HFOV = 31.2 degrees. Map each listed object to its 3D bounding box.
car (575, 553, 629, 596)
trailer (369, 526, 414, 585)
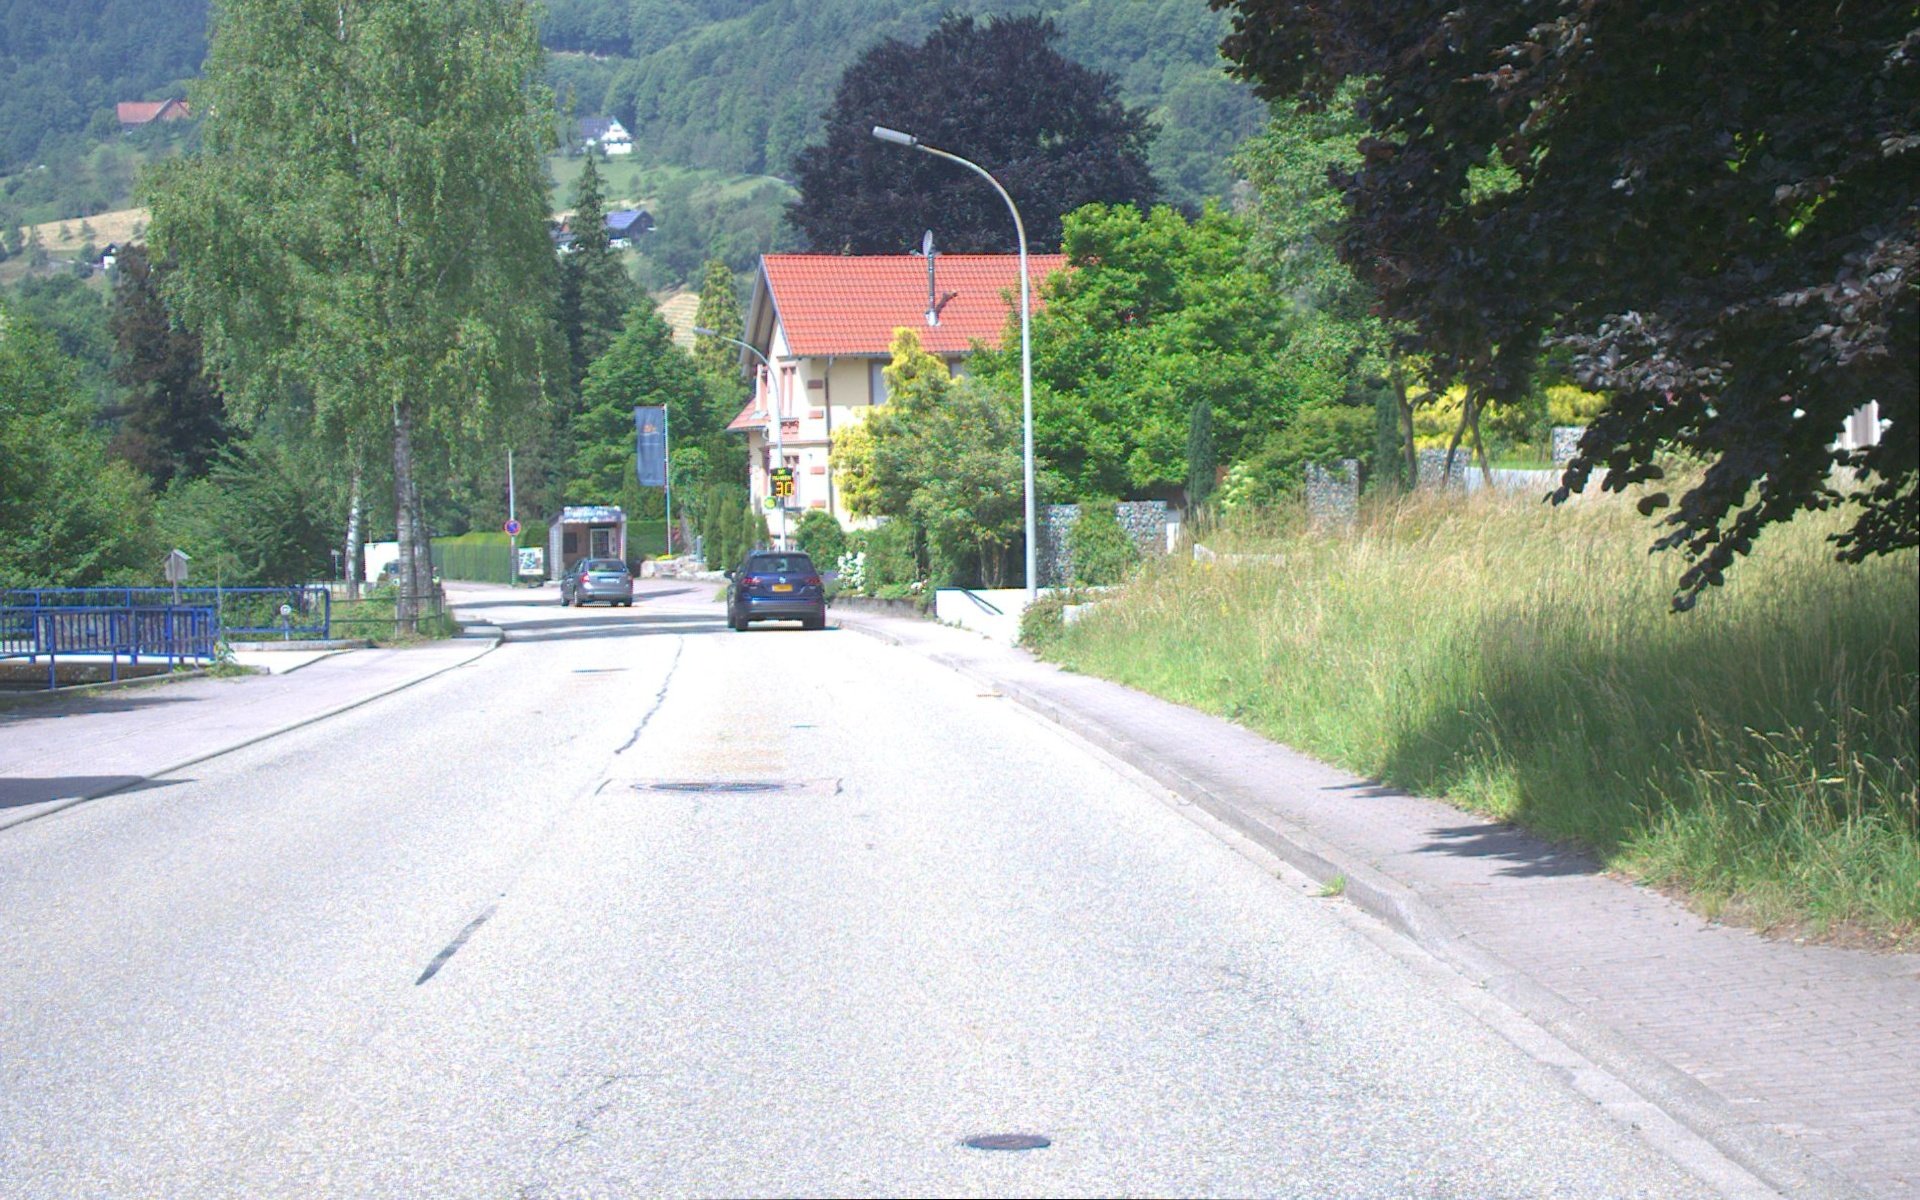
[{"bbox_3d":[-10.863,-0.780,104.451,1.476,1.205,2.384,-3,1,-4],"label":"car"},{"bbox_3d":[-20.763,-1.616,125.482,1.466,2.070,3.671,-3,1,-10],"label":"trailer"}]
